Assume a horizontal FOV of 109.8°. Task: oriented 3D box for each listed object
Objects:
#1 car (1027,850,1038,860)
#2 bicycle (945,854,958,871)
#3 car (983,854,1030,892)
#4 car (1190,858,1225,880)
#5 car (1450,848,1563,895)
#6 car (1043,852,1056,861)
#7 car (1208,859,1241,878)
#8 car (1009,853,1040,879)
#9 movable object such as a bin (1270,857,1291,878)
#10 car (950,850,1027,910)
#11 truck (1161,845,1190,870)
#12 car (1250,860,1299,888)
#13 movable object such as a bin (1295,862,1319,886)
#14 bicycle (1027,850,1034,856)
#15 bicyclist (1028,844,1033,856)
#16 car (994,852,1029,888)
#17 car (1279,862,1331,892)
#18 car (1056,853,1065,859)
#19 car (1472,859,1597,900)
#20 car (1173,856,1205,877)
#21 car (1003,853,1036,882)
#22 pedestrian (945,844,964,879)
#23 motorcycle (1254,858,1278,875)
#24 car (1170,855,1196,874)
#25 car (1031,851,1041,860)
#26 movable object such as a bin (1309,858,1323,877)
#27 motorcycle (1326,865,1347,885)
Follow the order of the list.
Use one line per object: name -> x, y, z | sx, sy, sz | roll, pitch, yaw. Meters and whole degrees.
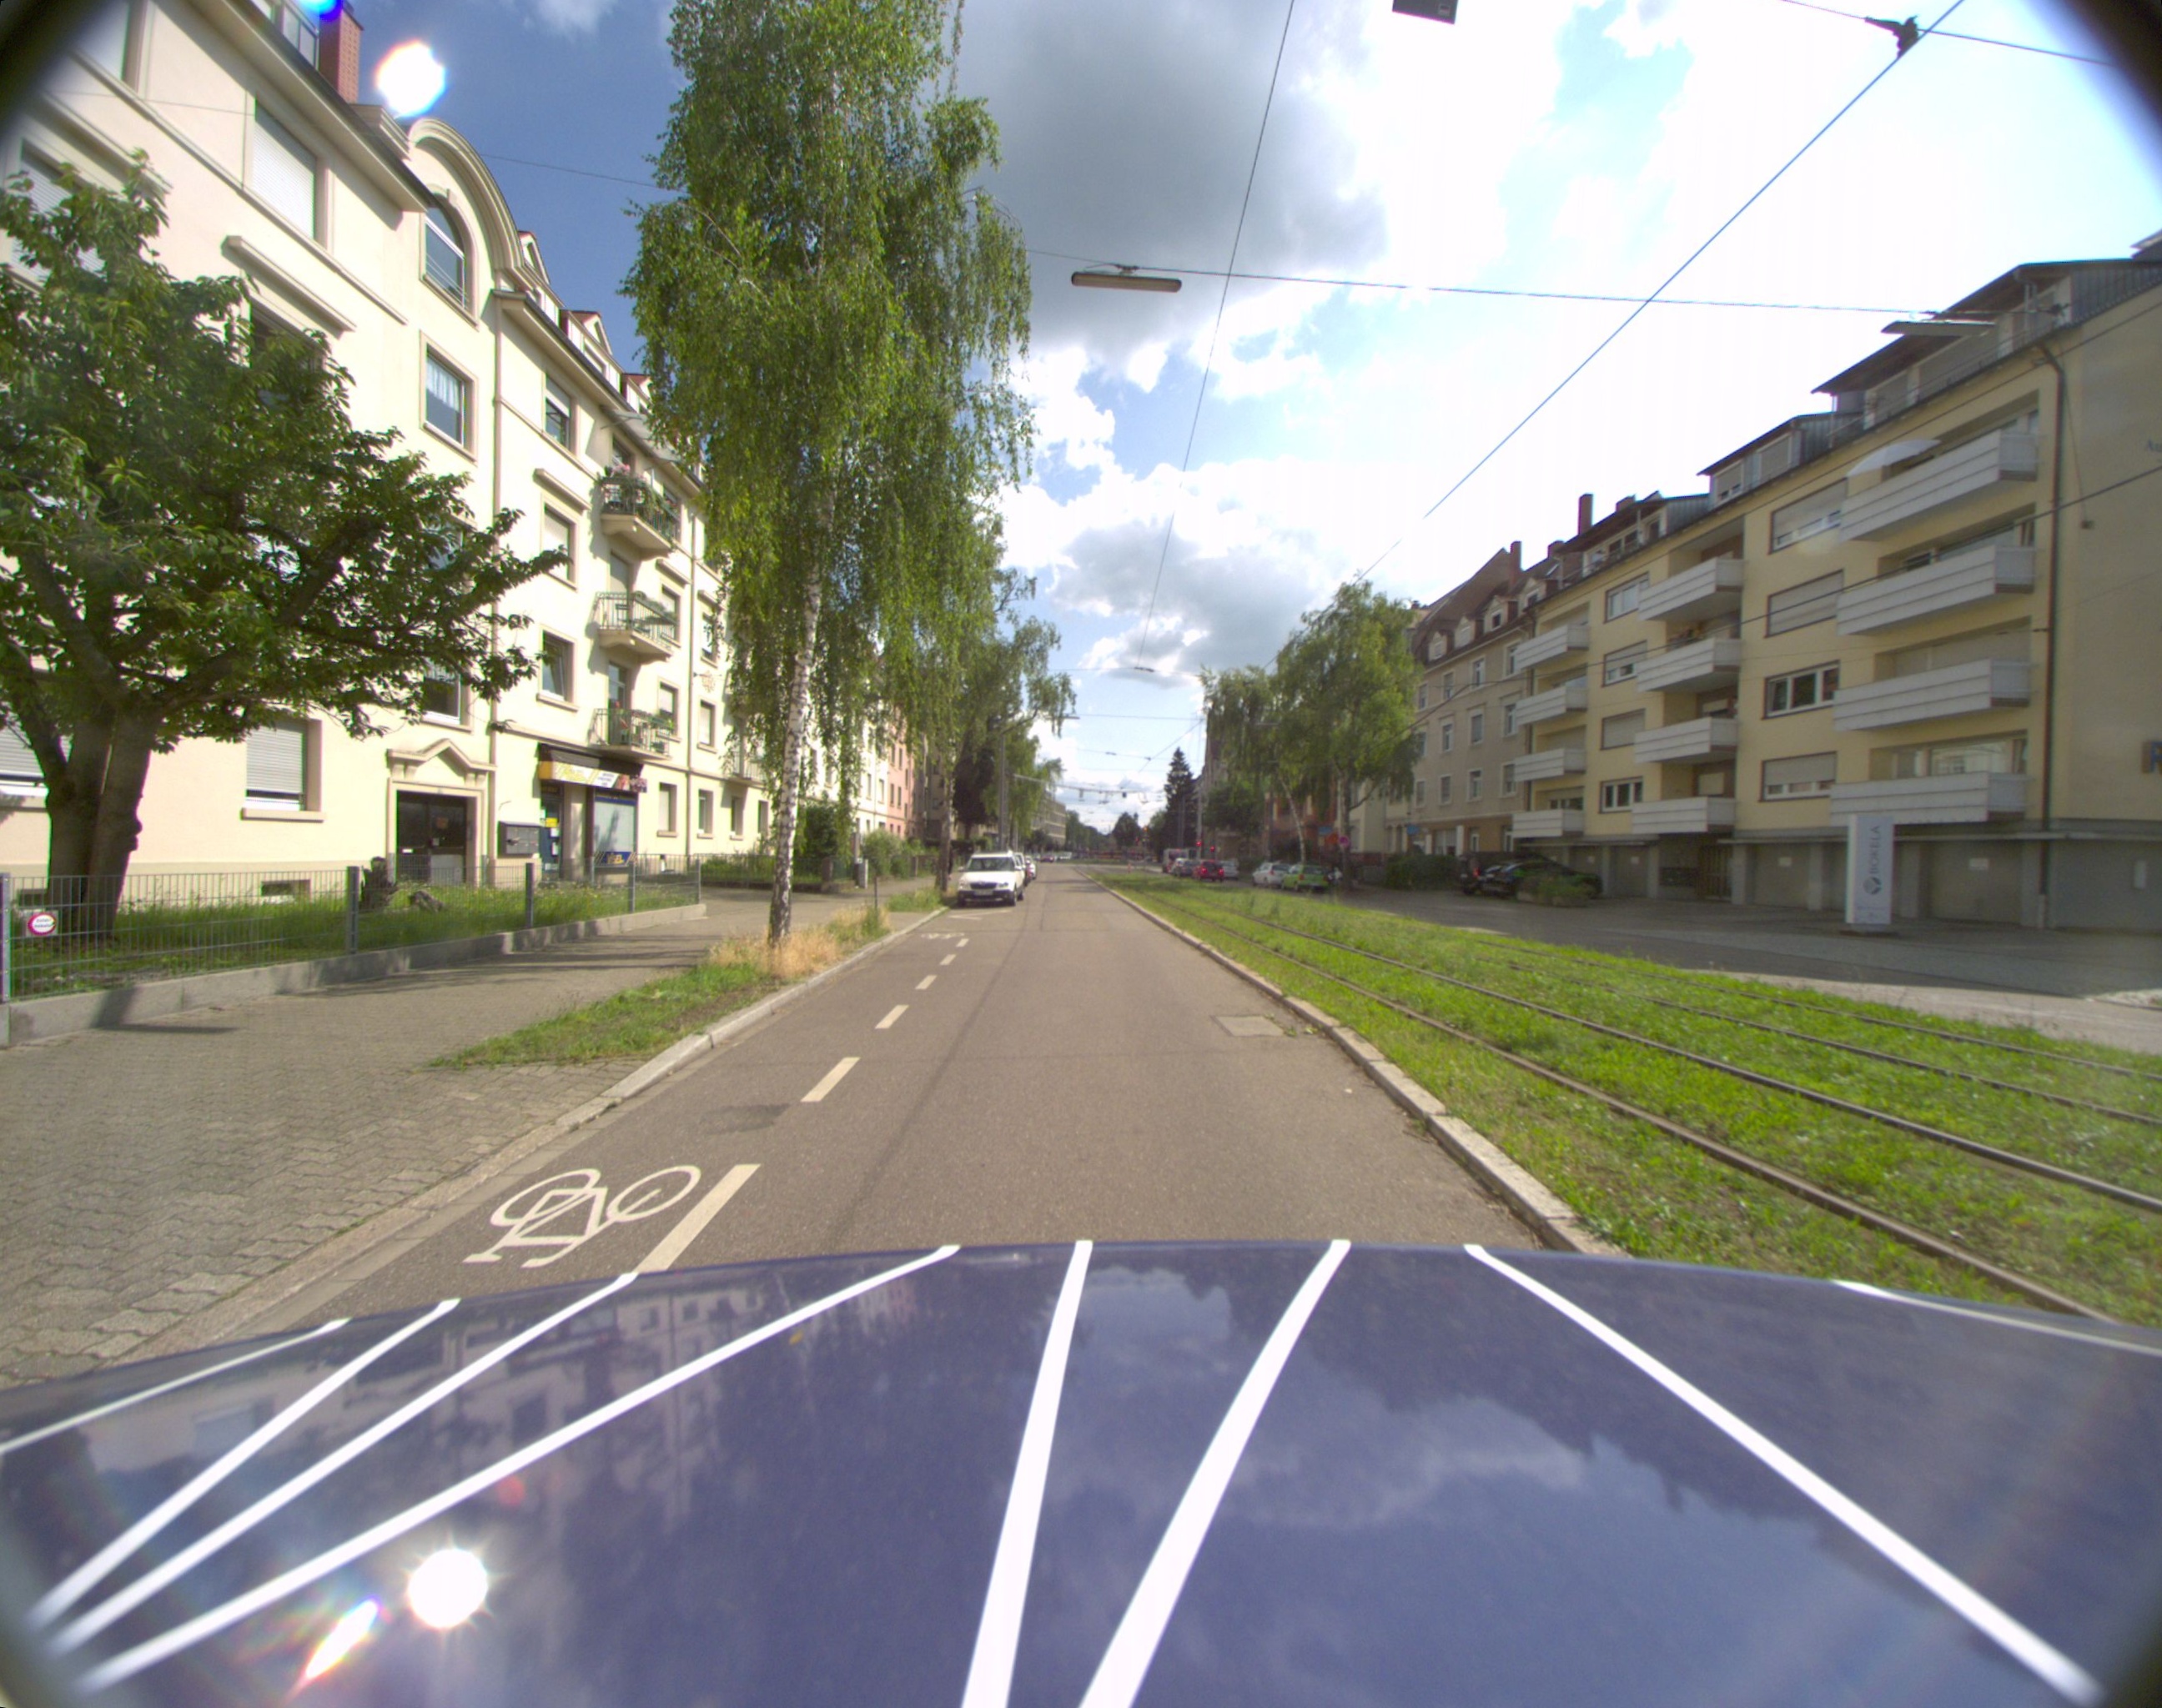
car -> -9.057, 0.168, 141.317 | 1.999, 1.730, 3.998 | 2, 0, -3
bicycle -> -8.336, 0.521, 49.015 | 0.473, 1.071, 2.182 | 2, 0, -1
car -> -3.032, 0.759, 31.557 | 1.677, 1.409, 3.794 | -1, 1, -3
car -> 8.504, 0.984, 51.328 | 1.583, 1.378, 3.692 | 2, 0, -1
car -> 19.049, 0.768, 34.145 | 3.996, 2.002, 1.937 | 0, 1, 1
car -> -4.862, 0.353, 116.840 | 1.741, 1.313, 4.000 | 0, 0, 2
car -> 11.001, 1.079, 58.472 | 1.759, 1.348, 3.994 | 2, 0, 0
car -> -3.379, 0.708, 46.083 | 1.624, 1.444, 3.917 | -2, 1, -2
movable object such as a bin -> 13.911, 0.910, 52.925 | 0.953, 1.359, 1.521 | -4, 1, -2
car -> -2.668, 0.702, 22.786 | 1.725, 1.620, 4.000 | -1, 0, 1
truck -> 9.227, 0.333, 74.411 | 2.190, 2.201, 6.613 | 2, 0, 3
car -> 11.447, 1.141, 45.180 | 1.649, 1.469, 4.224 | 3, 0, -1
movable object such as a bin -> 13.793, 1.203, 46.371 | 0.953, 1.421, 1.521 | -1, 0, -3
bicycle -> -7.673, -0.164, 114.964 | 0.771, 0.885, 1.892 | 2, 0, 4
bicyclist -> -7.647, -0.611, 114.902 | 0.665, 1.679, 0.857 | 2, 1, 4
car -> -3.234, 0.714, 35.884 | 1.498, 1.570, 3.757 | -1, 0, -3
car -> 11.762, 1.170, 40.083 | 1.598, 1.423, 3.614 | 2, 0, -1
car -> -4.199, 0.396, 154.046 | 1.620, 1.265, 4.000 | 0, 0, 2
car -> 18.732, 1.021, 31.511 | 3.998, 1.593, 1.972 | 0, 0, -2
car -> 8.275, 0.928, 58.431 | 1.759, 1.348, 4.511 | 3, 1, 0
car -> -3.291, 0.695, 41.276 | 1.593, 1.444, 3.843 | -2, 1, -2
pedestrian -> -6.405, 0.378, 38.377 | 0.731, 1.673, 0.691 | 3, 1, 1
motorcycle -> 13.523, 0.902, 55.680 | 0.903, 1.235, 2.293 | 1, 0, -8
car -> 8.709, 0.871, 64.993 | 1.759, 1.406, 4.134 | 3, 1, 2
car -> -8.840, 0.266, 149.658 | 1.836, 1.674, 3.999 | 2, 0, -2
movable object such as a bin -> 16.949, 0.946, 54.805 | 0.675, 1.354, 0.699 | 1, 1, -5
motorcycle -> 14.068, 1.157, 41.893 | 0.500, 1.037, 1.631 | -2, 2, -2
